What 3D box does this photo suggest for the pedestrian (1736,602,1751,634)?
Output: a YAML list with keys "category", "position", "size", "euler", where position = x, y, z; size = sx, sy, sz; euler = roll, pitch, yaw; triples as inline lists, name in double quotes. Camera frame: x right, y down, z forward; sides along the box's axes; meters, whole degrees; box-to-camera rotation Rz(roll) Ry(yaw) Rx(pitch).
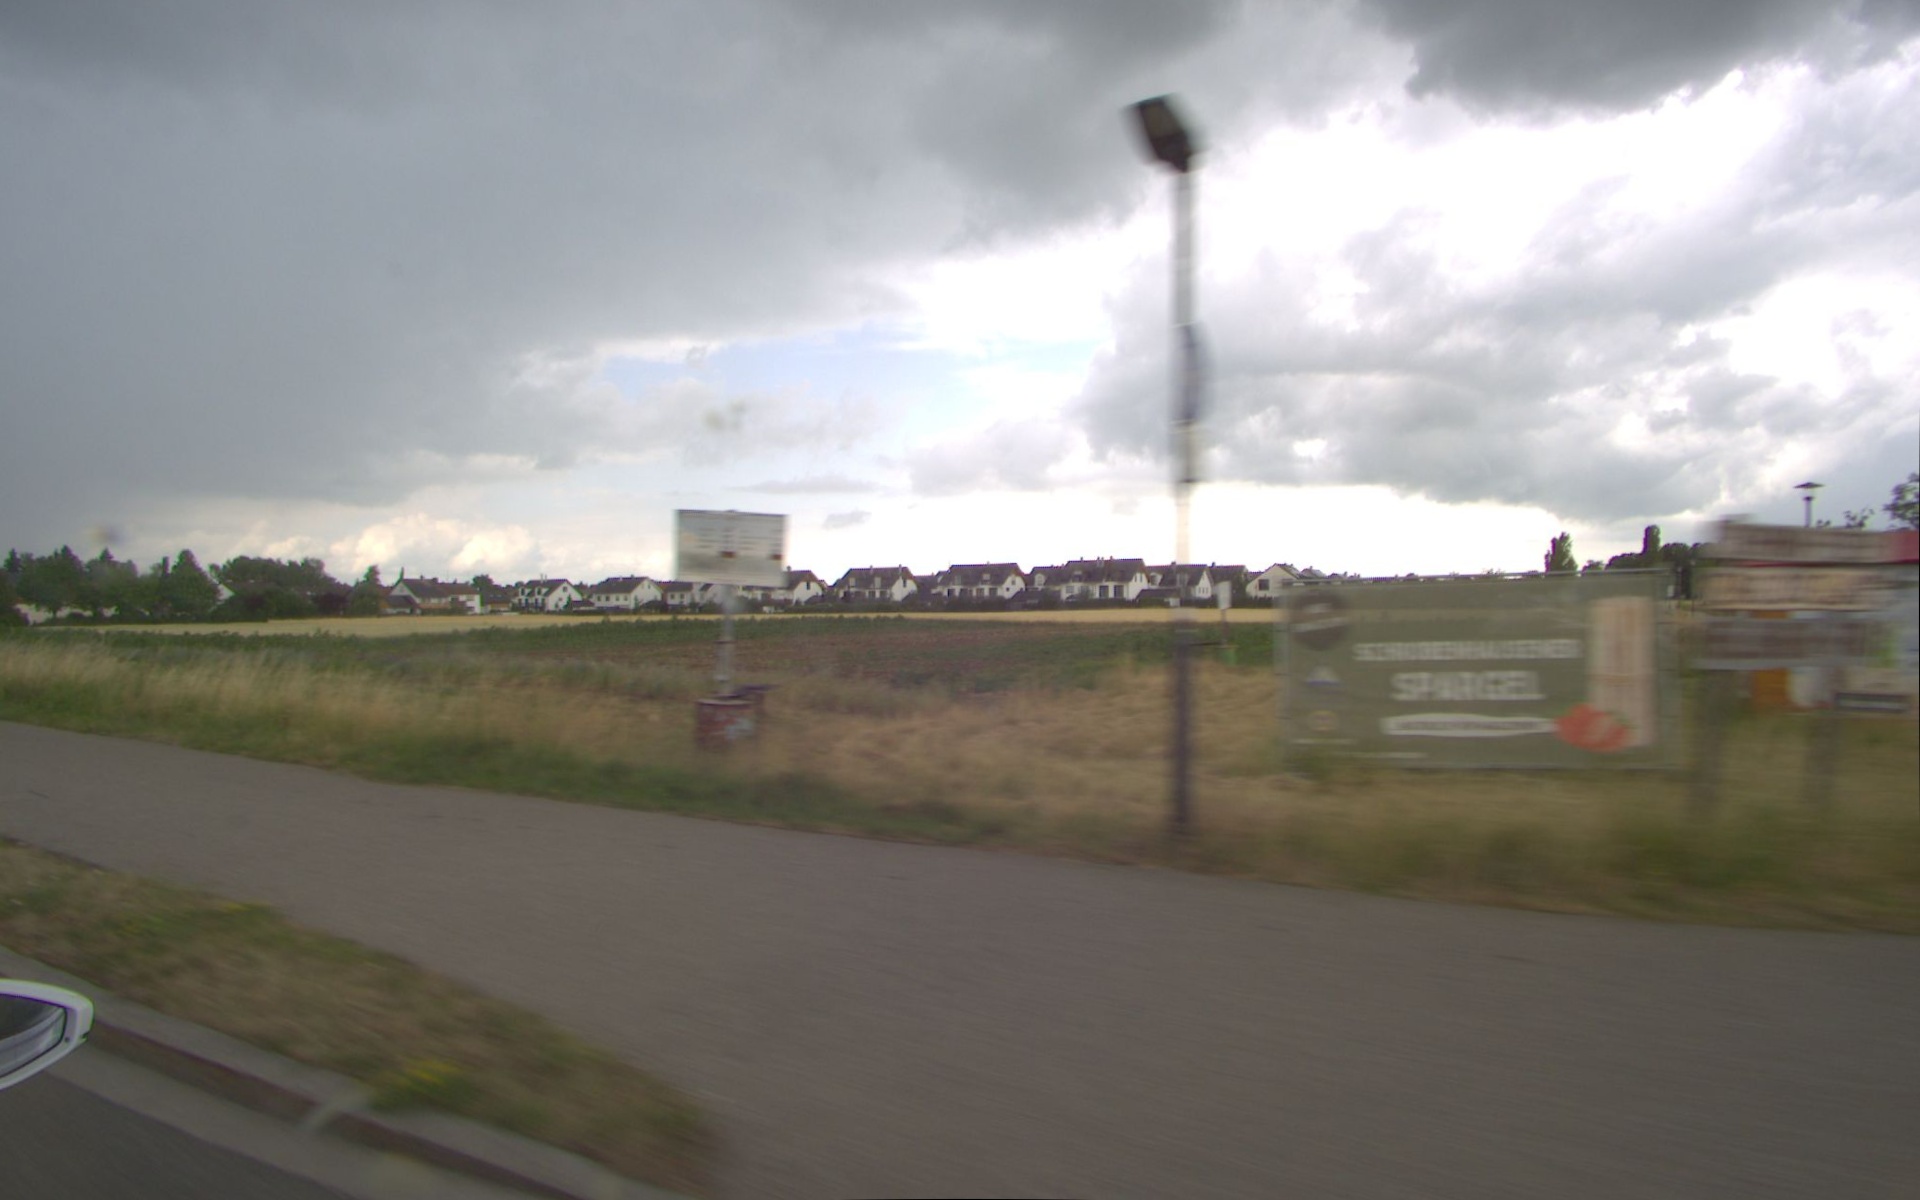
- category: "pedestrian"
  position: [44.594, 1.042, 57.000]
  size: [0.591, 1.786, 0.480]
  euler: [0, 3, 32]
